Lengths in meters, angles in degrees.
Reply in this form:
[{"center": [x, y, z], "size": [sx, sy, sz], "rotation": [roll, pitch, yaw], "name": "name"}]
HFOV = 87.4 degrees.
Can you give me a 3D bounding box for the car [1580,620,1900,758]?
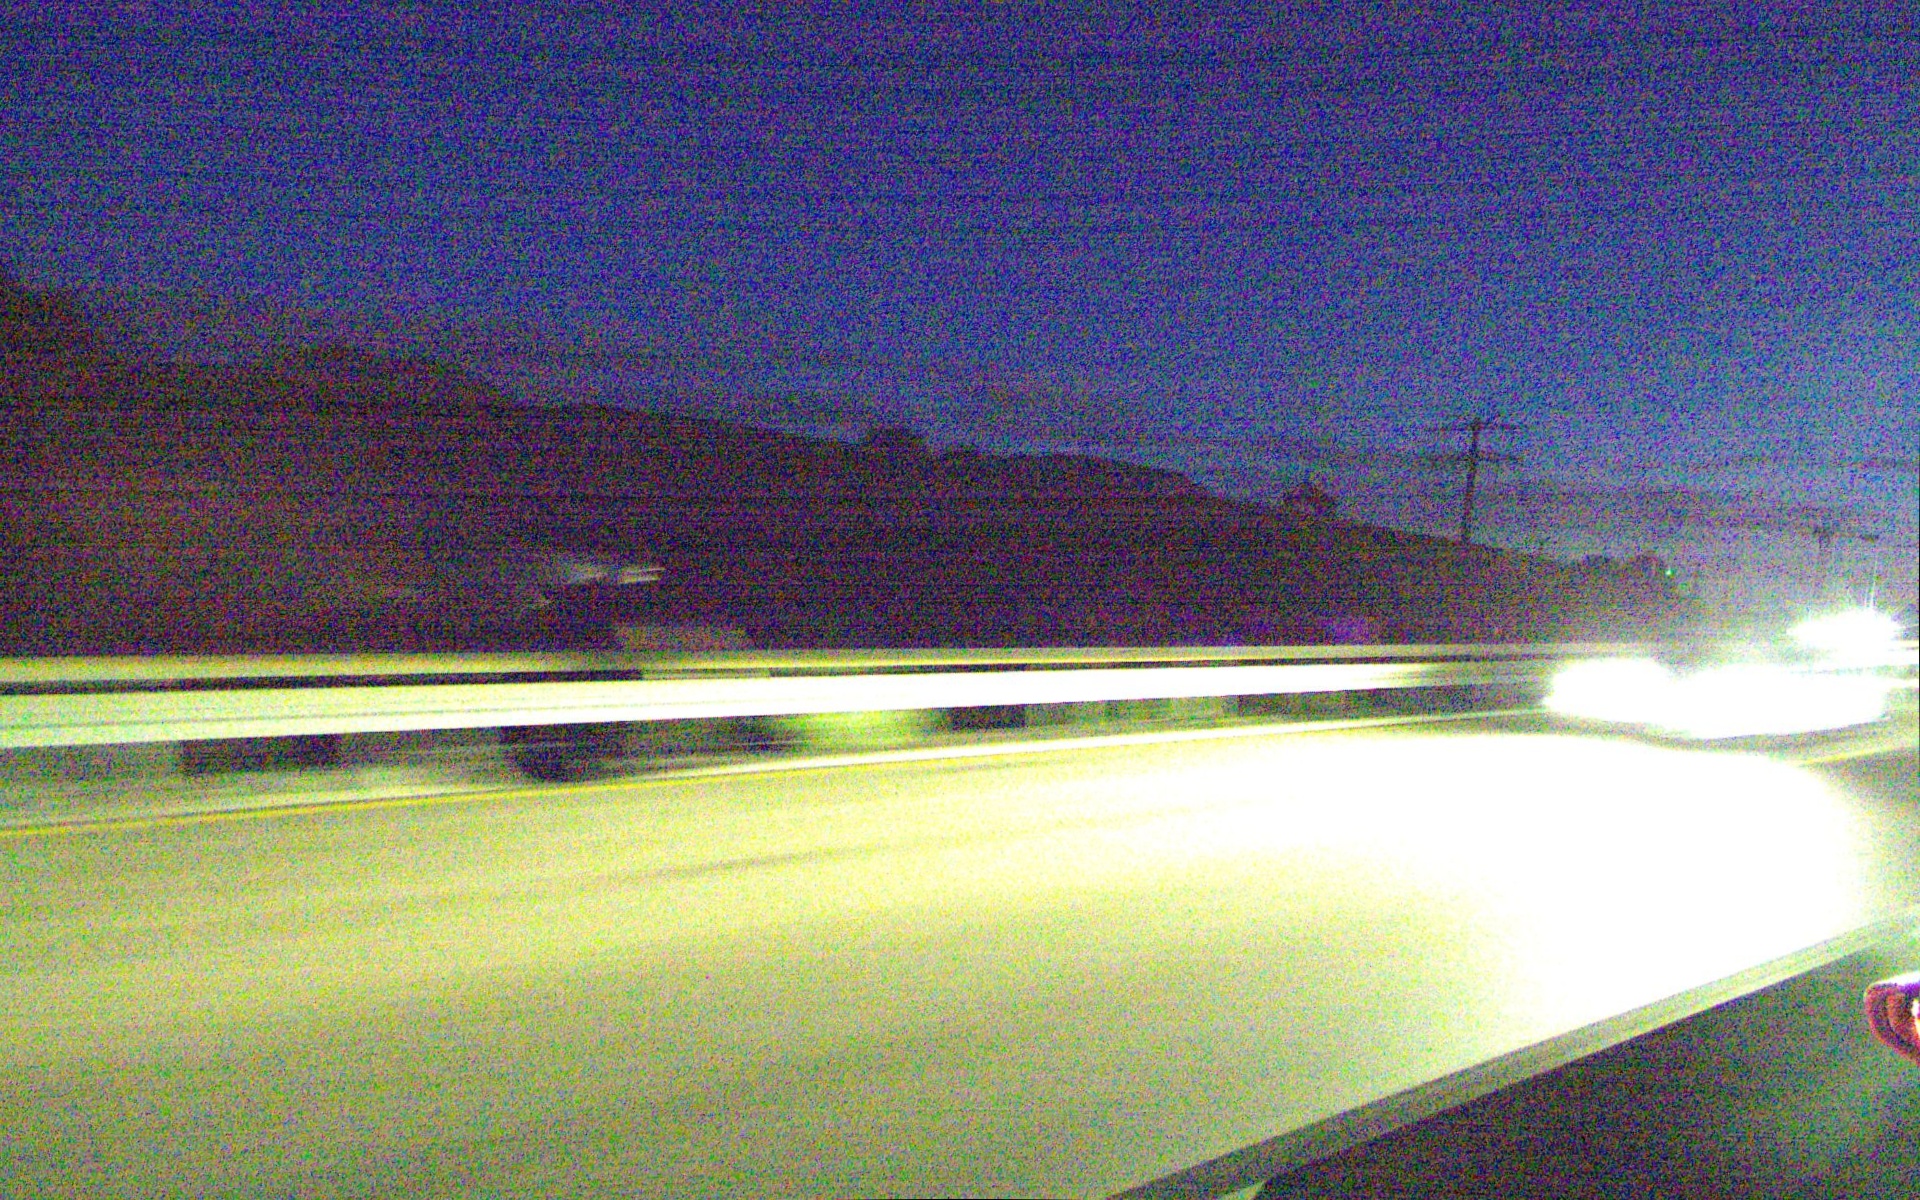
[{"center": [9.596, 1.012, 12.280], "size": [4.196, 1.398, 1.708], "rotation": [2, -1, -31], "name": "car"}]
